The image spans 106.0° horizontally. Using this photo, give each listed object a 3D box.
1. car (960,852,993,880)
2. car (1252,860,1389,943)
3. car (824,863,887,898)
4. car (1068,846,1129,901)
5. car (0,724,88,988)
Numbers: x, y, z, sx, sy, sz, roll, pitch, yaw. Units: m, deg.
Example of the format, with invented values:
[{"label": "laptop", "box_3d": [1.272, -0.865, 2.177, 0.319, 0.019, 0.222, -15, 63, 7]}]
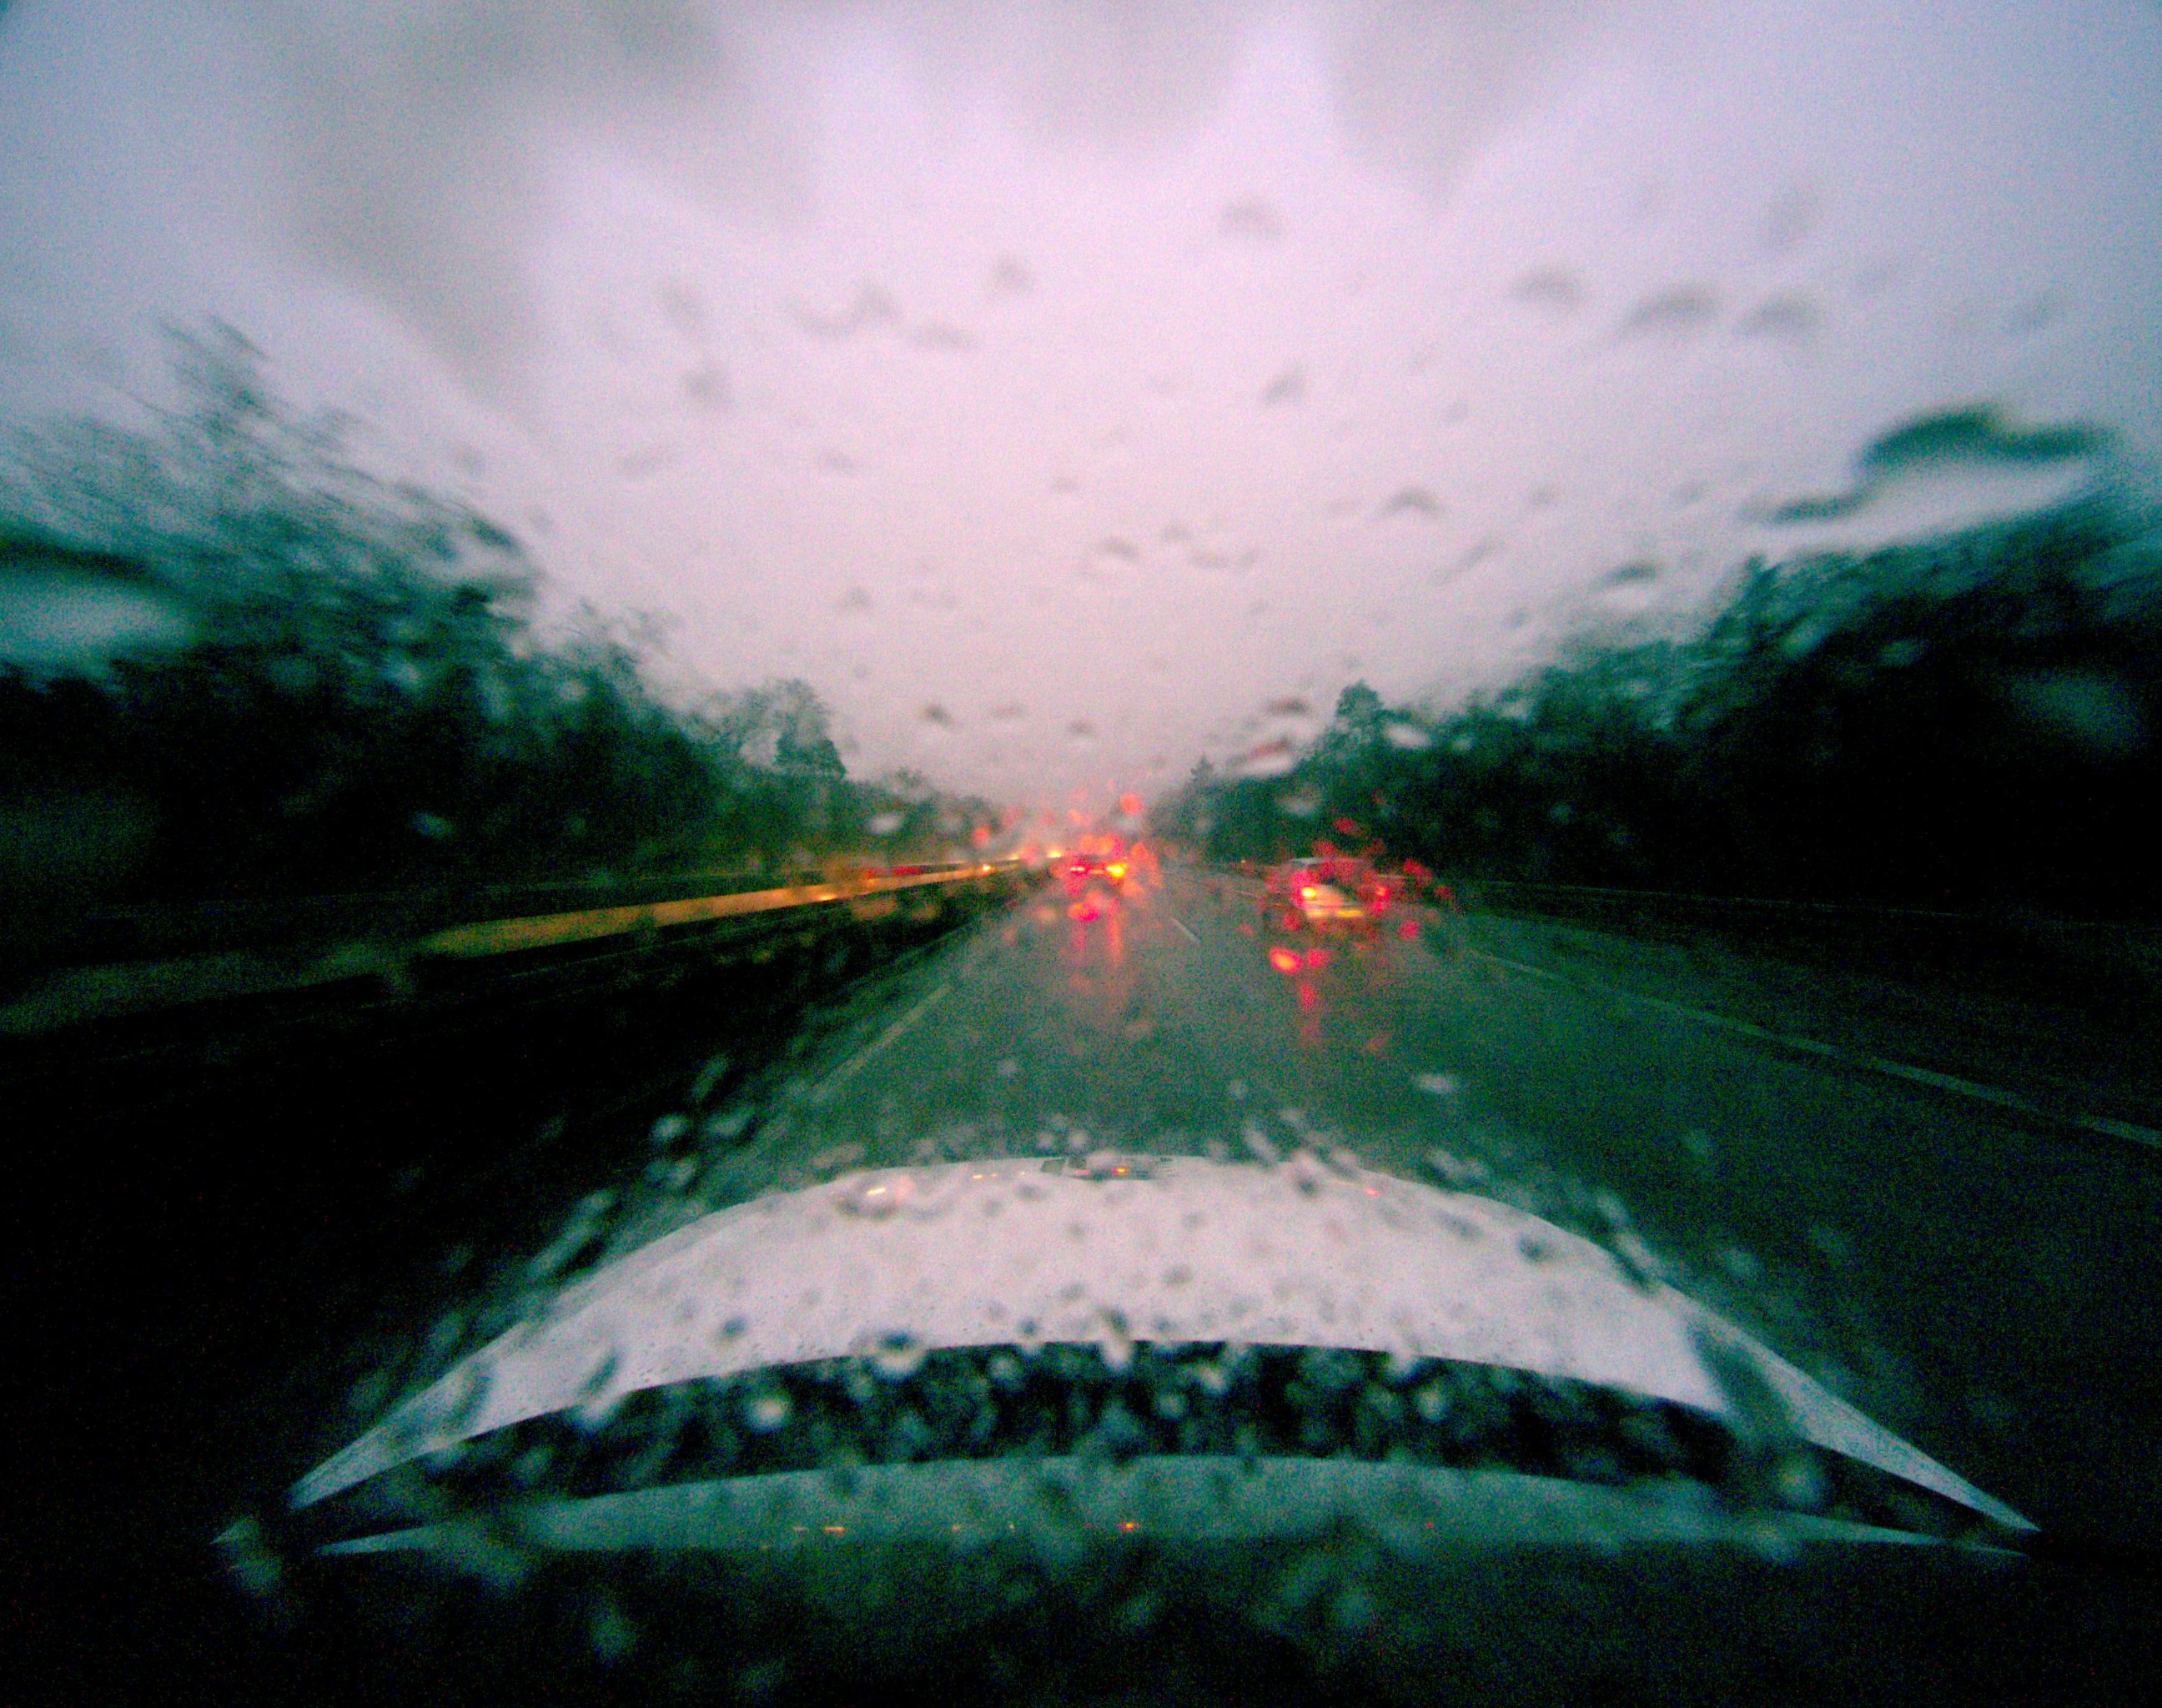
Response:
[{"label": "car", "box_3d": [-6.566, 0.720, 51.337, 1.461, 1.656, 3.640, -1, 0, 1]}, {"label": "car", "box_3d": [4.605, 0.855, 16.155, 1.773, 1.437, 3.539, 0, 0, 2]}, {"label": "car", "box_3d": [-10.083, 1.171, 36.690, 1.733, 1.418, 3.704, 2, -1, 1]}, {"label": "car", "box_3d": [0.595, 0.633, 28.703, 1.980, 1.767, 4.173, -1, 0, 0]}, {"label": "car", "box_3d": [-11.570, 0.037, 5.412, 1.995, 2.568, 6.378, -1, 0, 2]}]
